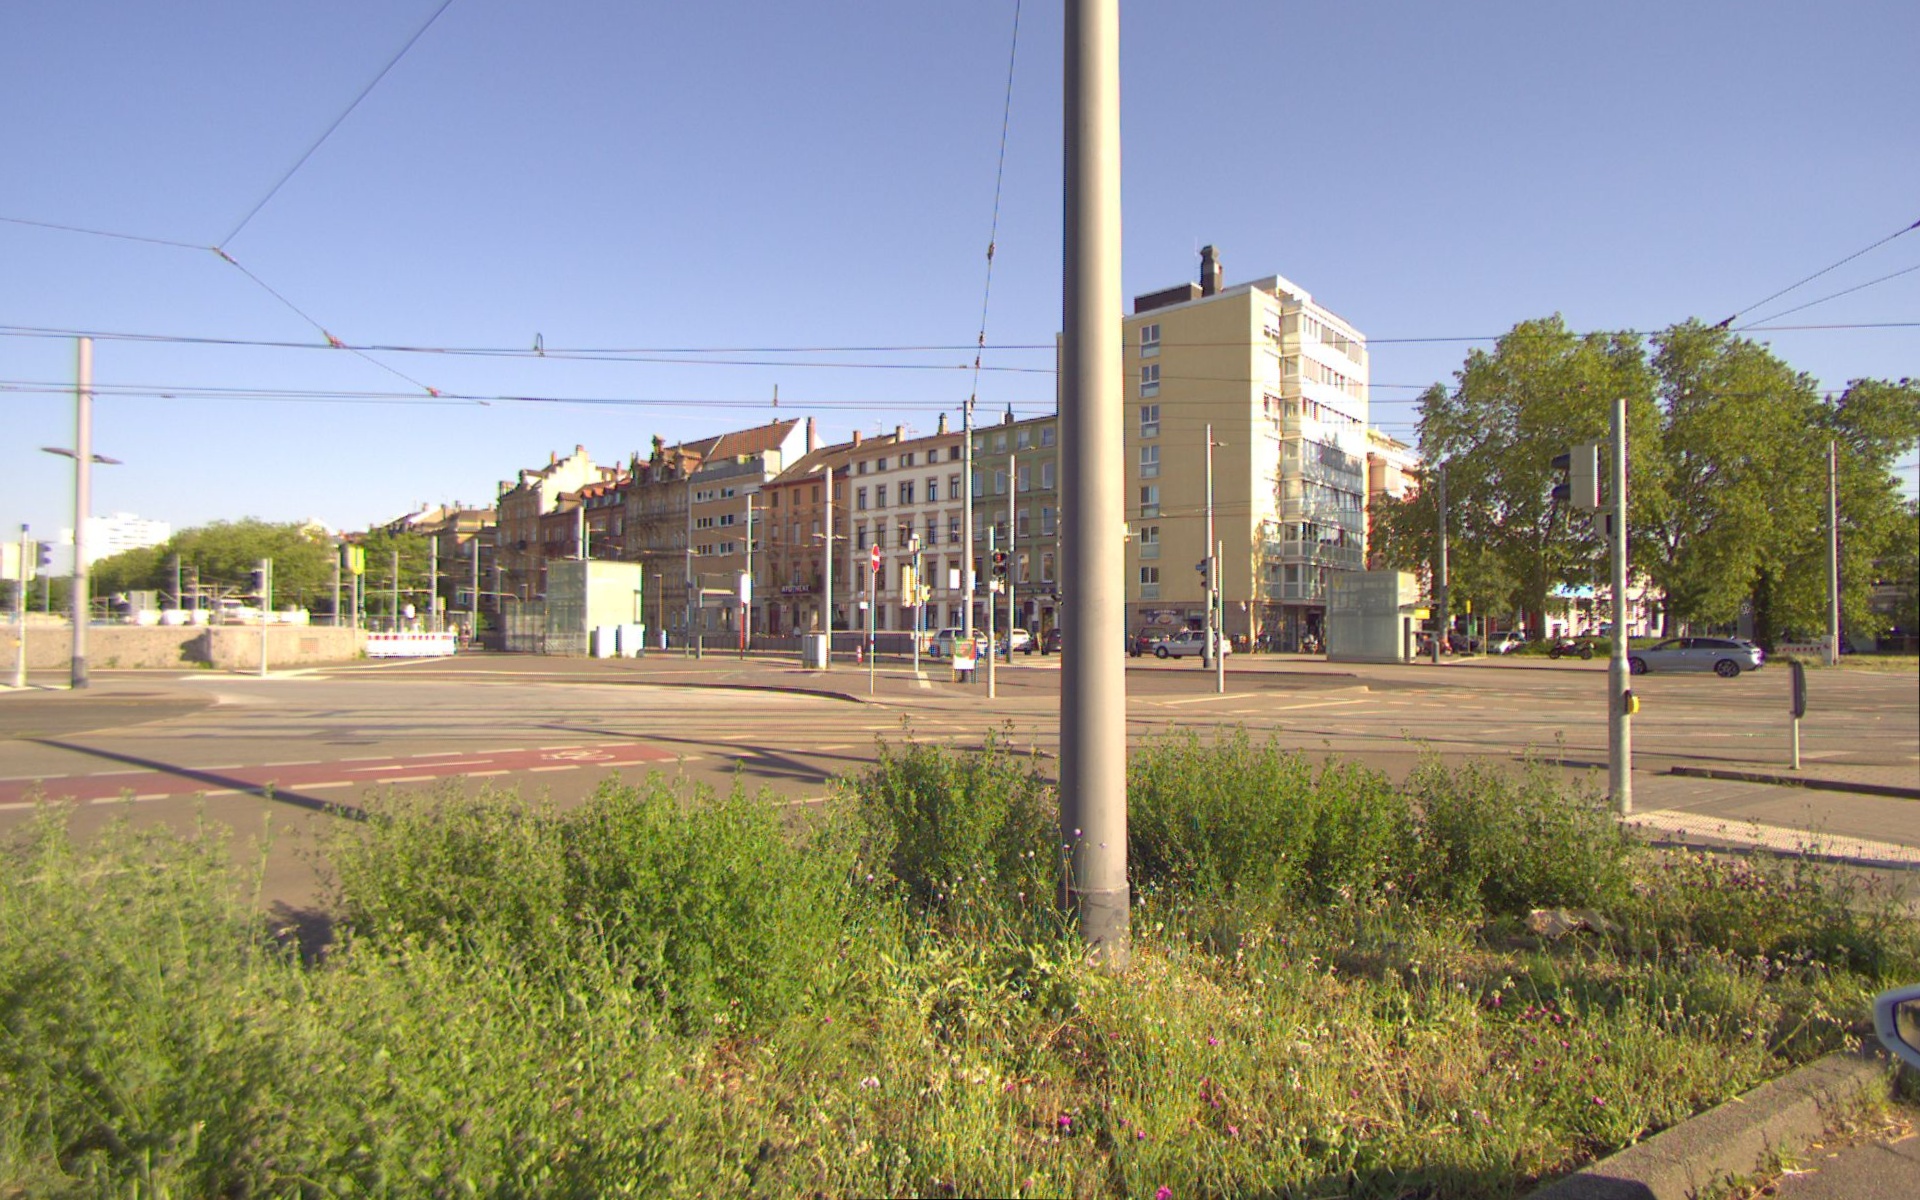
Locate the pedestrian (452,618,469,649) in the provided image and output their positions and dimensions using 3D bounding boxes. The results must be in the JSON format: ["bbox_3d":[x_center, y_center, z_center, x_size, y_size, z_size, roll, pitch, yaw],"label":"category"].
[{"bbox_3d":[-27.352,1.811,55.012,0.721,1.671,0.788,1,-2,-34],"label":"pedestrian"}]

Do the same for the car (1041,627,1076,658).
[{"bbox_3d":[6.051,2.582,61.899,1.803,1.742,4.000,-1,0,1],"label":"car"}]

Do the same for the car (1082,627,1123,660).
[{"bbox_3d":[8.426,2.547,59.747,1.803,1.771,3.999,-1,0,-1],"label":"car"}]

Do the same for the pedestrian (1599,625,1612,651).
[{"bbox_3d":[52.207,3.071,81.237,0.702,2.040,0.586,1,-1,-30],"label":"pedestrian"}]

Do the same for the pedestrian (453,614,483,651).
[{"bbox_3d":[-28.070,1.833,57.284,1.361,2.040,1.503,-1,0,-34],"label":"pedestrian"}]

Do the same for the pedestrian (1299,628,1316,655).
[{"bbox_3d":[21.750,2.597,62.929,0.767,1.698,0.778,-1,-2,43],"label":"pedestrian"}]

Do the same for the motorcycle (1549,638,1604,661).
[{"bbox_3d":[30.827,2.465,50.250,0.682,1.068,2.263,-1,0,-42],"label":"motorcycle"}]

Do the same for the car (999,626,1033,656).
[{"bbox_3d":[3.574,2.603,64.411,2.045,1.742,4.010,-1,0,1],"label":"car"}]

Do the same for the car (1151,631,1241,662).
[{"bbox_3d":[11.883,2.314,50.674,4.050,1.471,1.943,-1,-2,43],"label":"car"}]

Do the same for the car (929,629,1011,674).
[{"bbox_3d":[0.480,2.498,49.593,3.691,2.040,1.990,0,0,41],"label":"car"}]

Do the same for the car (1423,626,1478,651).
[{"bbox_3d":[39.033,3.014,80.046,3.925,1.882,1.851,0,0,26],"label":"car"}]

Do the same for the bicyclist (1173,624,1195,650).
[{"bbox_3d":[13.709,2.243,61.429,0.914,1.580,0.957,-1,-2,45],"label":"bicyclist"}]

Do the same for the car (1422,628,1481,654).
[{"bbox_3d":[37.117,3.081,75.924,3.925,1.882,1.851,0,0,26],"label":"car"}]

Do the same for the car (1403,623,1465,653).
[{"bbox_3d":[33.623,2.653,71.298,3.925,2.040,1.998,0,-2,26],"label":"car"}]

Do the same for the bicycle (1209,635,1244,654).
[{"bbox_3d":[16.781,2.795,63.235,2.019,1.104,0.773,-1,-2,42],"label":"bicycle"}]

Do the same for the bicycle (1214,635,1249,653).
[{"bbox_3d":[17.293,2.789,63.909,2.019,1.104,0.773,-1,-2,42],"label":"bicycle"}]

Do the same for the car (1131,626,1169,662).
[{"bbox_3d":[10.911,2.516,57.897,1.815,1.882,4.002,-1,0,6],"label":"car"}]

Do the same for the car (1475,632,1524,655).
[{"bbox_3d":[35.601,2.846,66.252,1.827,1.471,3.976,0,-2,44],"label":"car"}]

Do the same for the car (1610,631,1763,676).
[{"bbox_3d":[26.733,1.939,37.042,4.489,1.537,1.945,-1,-2,39],"label":"car"}]
